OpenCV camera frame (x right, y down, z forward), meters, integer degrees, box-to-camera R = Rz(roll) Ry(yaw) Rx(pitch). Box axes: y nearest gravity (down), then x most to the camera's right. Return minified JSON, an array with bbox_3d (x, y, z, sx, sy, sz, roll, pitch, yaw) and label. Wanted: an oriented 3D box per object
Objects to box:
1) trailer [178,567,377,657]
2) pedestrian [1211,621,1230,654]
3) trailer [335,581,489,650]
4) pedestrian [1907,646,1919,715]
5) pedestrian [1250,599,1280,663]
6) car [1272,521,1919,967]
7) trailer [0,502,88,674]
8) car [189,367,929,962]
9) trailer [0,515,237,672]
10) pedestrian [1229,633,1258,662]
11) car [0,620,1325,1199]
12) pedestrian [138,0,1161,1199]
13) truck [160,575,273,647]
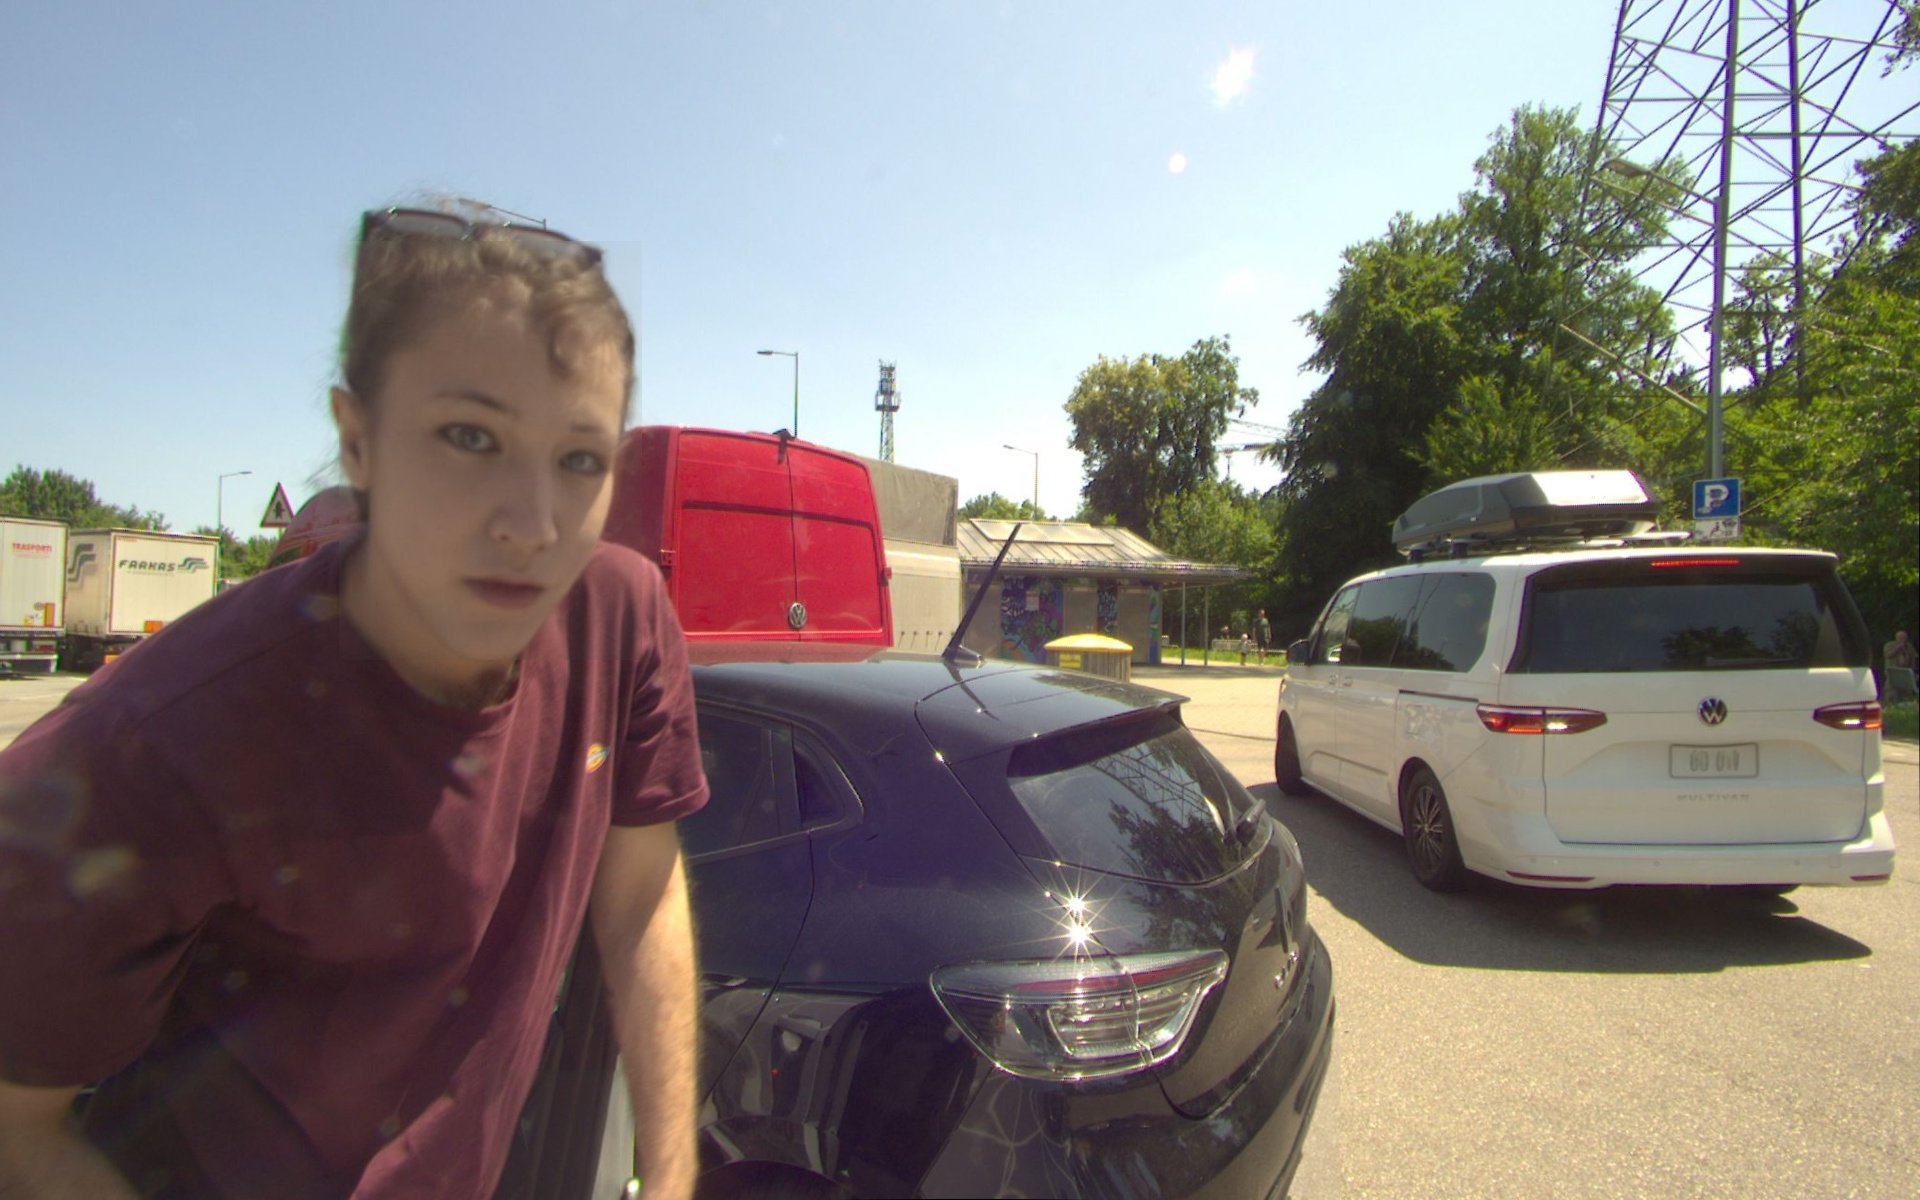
[{"bbox_3d":[-32.361,0.485,47.126,13.530,3.764,2.834,1,-2,34],"label":"trailer"},{"bbox_3d":[12.064,1.741,46.368,0.635,1.547,0.564,0,-1,-23],"label":"pedestrian"},{"bbox_3d":[-36.023,0.925,65.420,13.530,4.101,2.834,1,-2,34],"label":"trailer"},{"bbox_3d":[17.208,1.396,17.454,0.876,1.192,0.666,-1,-2,32],"label":"pedestrian"},{"bbox_3d":[9.978,1.002,32.807,0.634,2.067,0.777,0,-1,-12],"label":"pedestrian"},{"bbox_3d":[3.591,0.682,6.682,1.875,1.937,4.565,0,-1,4],"label":"car"},{"bbox_3d":[-28.947,-0.379,28.135,13.523,4.184,2.835,1,-2,33],"label":"trailer"},{"bbox_3d":[-3.337,0.318,7.339,6.310,2.731,2.060,0,-1,37],"label":"car"},{"bbox_3d":[-27.638,-0.196,31.615,13.523,4.184,2.835,1,-2,33],"label":"trailer"},{"bbox_3d":[9.276,1.551,32.764,0.634,0.960,0.778,0,-2,-12],"label":"pedestrian"},{"bbox_3d":[-1.046,0.842,2.886,3.757,1.501,1.736,0,-1,27],"label":"car"},{"bbox_3d":[-0.322,0.604,1.045,0.878,1.865,0.618,-1,-1,35],"label":"pedestrian"},{"bbox_3d":[-37.670,0.565,50.726,5.405,3.407,2.848,1,-2,34],"label":"truck"}]
